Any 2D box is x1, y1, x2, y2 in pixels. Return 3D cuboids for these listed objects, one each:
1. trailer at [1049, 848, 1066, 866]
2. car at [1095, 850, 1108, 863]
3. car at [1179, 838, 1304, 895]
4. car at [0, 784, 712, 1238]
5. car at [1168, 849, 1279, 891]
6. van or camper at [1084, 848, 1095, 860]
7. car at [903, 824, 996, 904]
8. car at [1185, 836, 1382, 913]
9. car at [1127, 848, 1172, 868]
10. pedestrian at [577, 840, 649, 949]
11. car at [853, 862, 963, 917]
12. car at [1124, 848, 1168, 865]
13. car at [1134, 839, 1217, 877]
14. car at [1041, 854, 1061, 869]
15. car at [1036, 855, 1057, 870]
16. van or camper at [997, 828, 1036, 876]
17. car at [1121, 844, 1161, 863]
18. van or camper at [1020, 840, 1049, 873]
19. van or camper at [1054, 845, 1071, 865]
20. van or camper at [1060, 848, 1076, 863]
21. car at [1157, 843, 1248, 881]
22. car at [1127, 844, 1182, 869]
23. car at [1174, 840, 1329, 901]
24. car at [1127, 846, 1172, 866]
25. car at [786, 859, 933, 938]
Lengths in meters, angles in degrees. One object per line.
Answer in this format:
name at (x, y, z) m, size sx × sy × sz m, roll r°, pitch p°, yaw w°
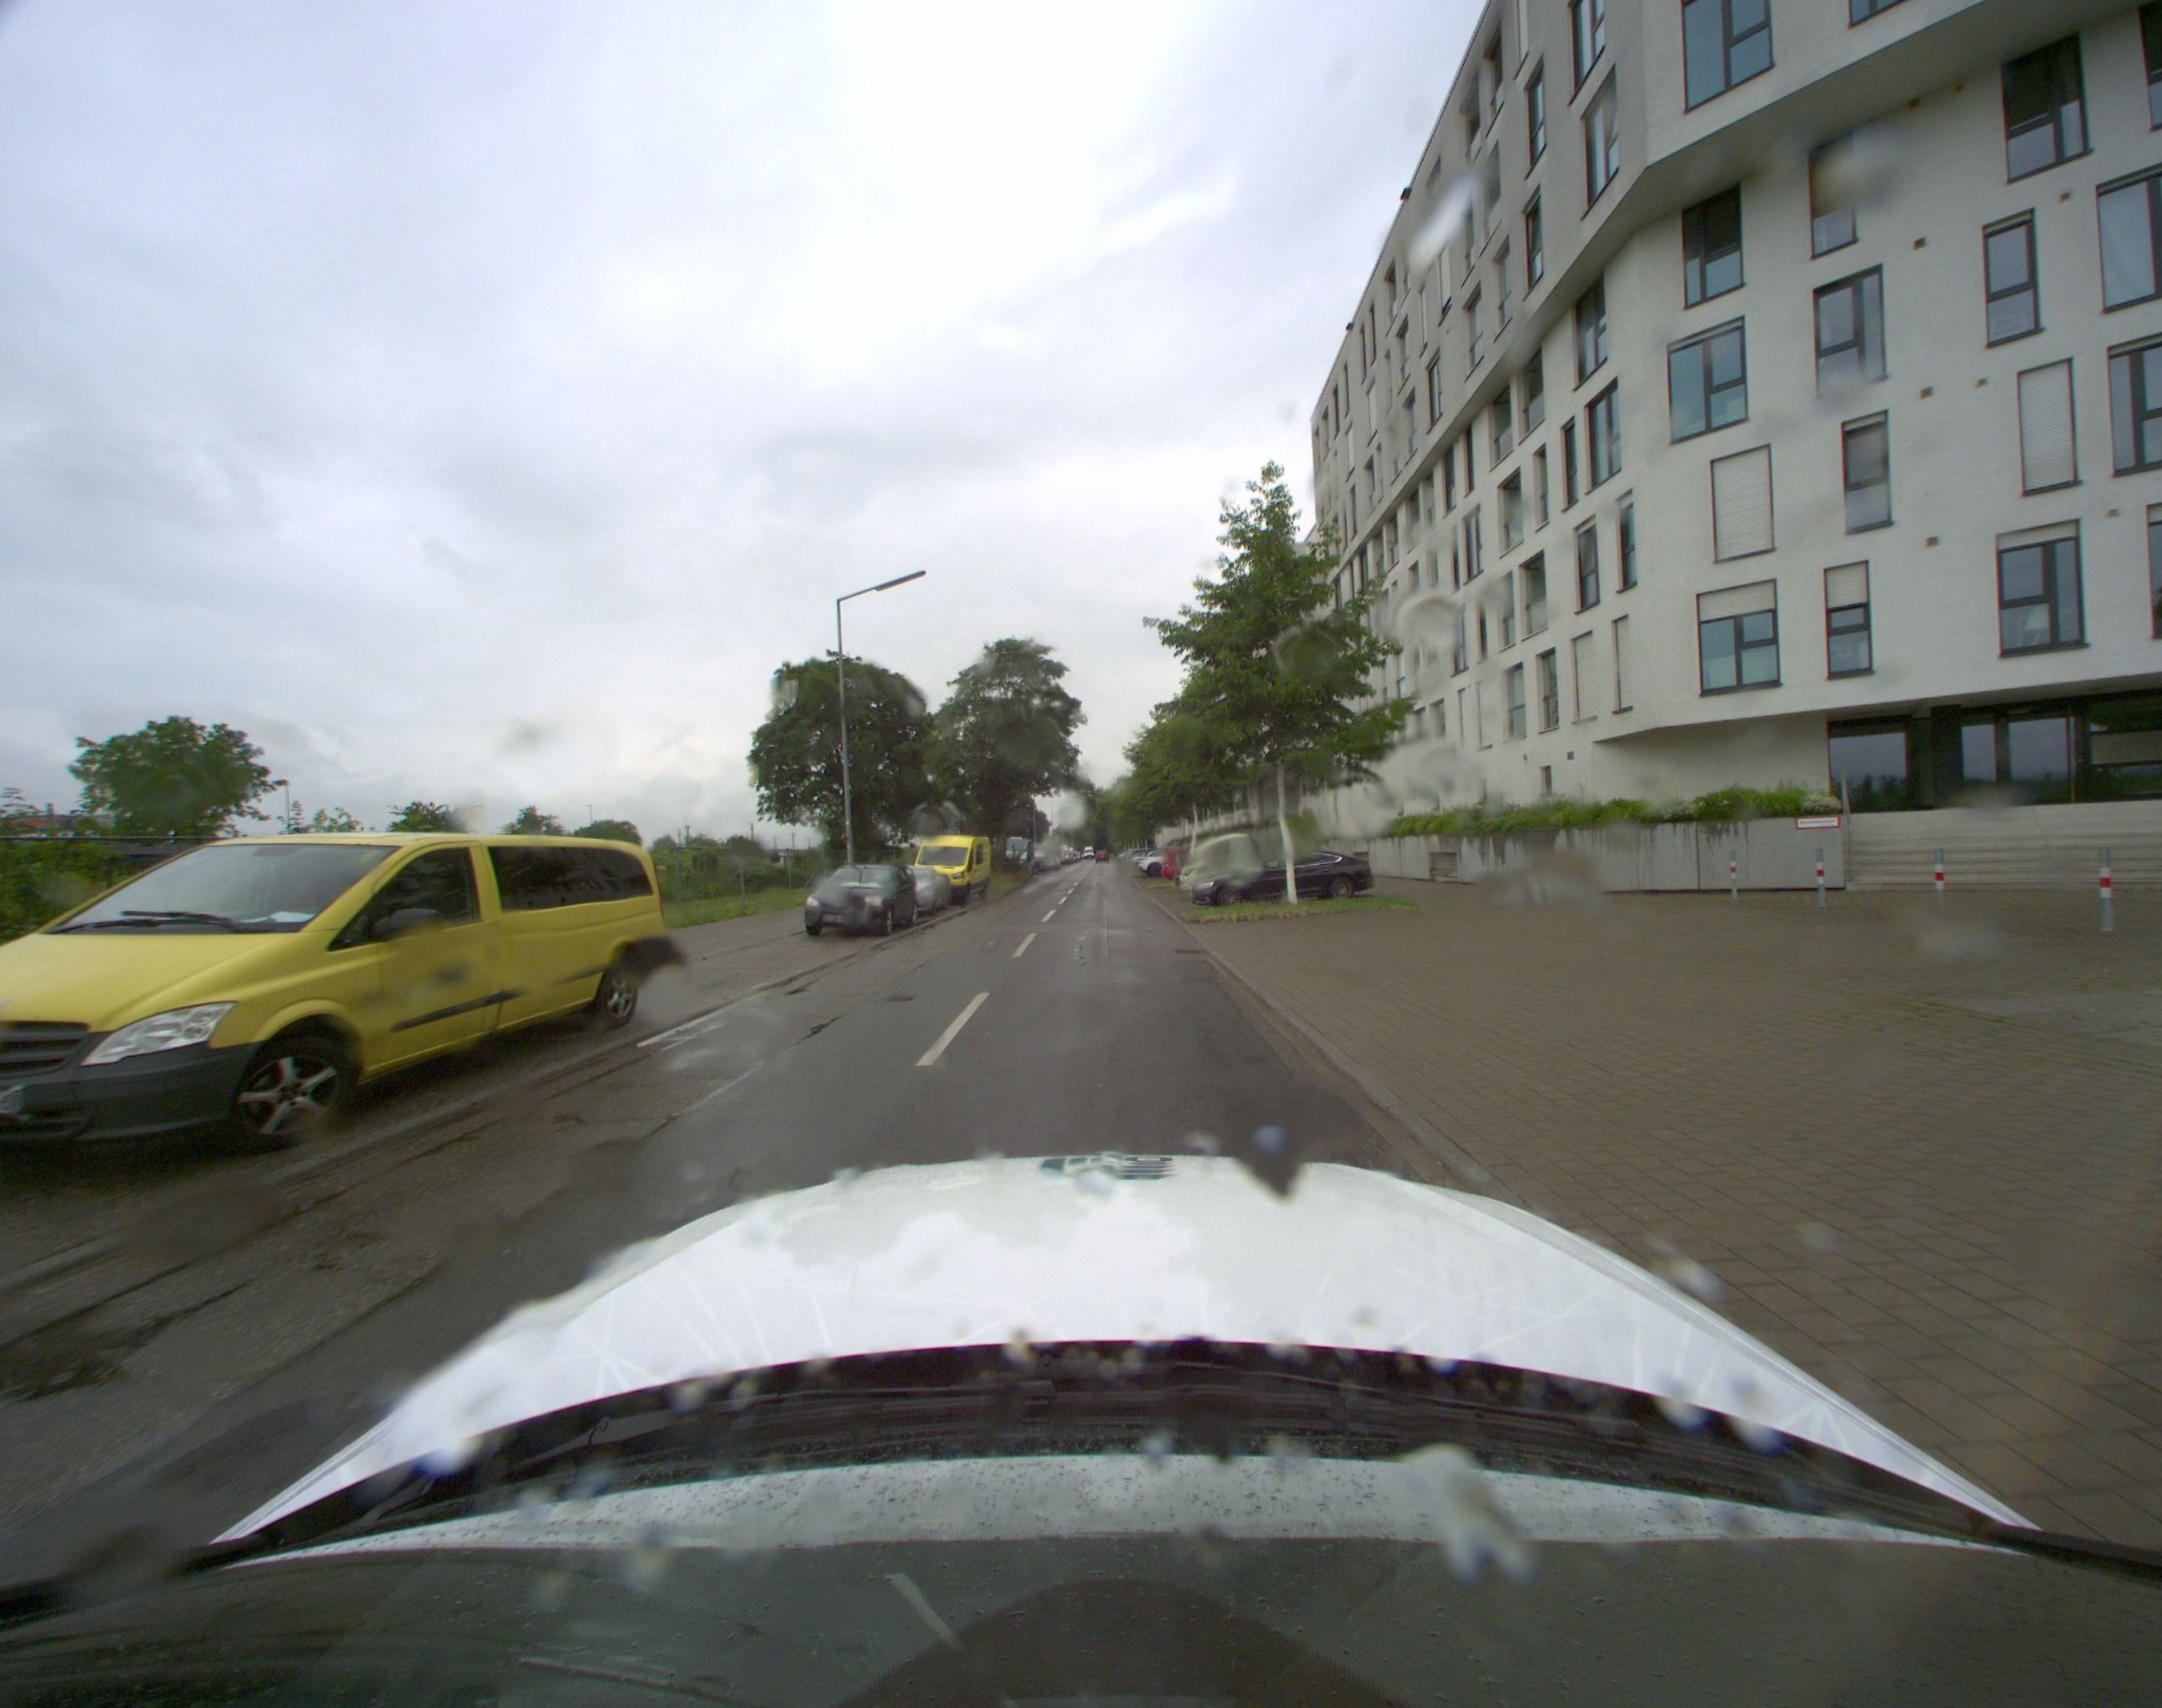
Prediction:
trailer at (-2.977, 0.401, 105.194) m, size 2.052 × 2.218 × 5.794 m, roll -1°, pitch 0°, yaw 0°
car at (2.849, 0.348, 111.966) m, size 1.750 × 1.706 × 4.001 m, roll -3°, pitch 0°, yaw 1°
car at (5.547, 0.424, 28.422) m, size 3.972 × 1.555 × 1.635 m, roll -5°, pitch 0°, yaw 1°
car at (-5.425, 0.691, 6.553) m, size 2.010 × 1.956 × 6.066 m, roll -1°, pitch 0°, yaw 1°
car at (5.372, 0.609, 31.066) m, size 3.945 × 1.474 × 1.591 m, roll -1°, pitch 0°, yaw -1°
van or camper at (1.768, 0.036, 173.079) m, size 1.986 × 2.497 × 7.182 m, roll -3°, pitch 0°, yaw 2°
car at (-4.768, 0.346, 30.561) m, size 2.182 × 2.694 × 6.086 m, roll 0°, pitch 0°, yaw 3°
car at (5.131, 0.509, 21.039) m, size 4.556 × 1.497 × 1.825 m, roll -5°, pitch 0°, yaw 0°
car at (6.282, 0.345, 75.231) m, size 3.973 × 1.509 × 1.684 m, roll -4°, pitch 1°, yaw 1°
pedestrian at (-9.000, 0.755, 15.696) m, size 0.739 × 2.013 × 0.981 m, roll -1°, pitch 0°, yaw 2°
car at (-4.952, 0.962, 24.185) m, size 2.003 × 1.434 × 5.340 m, roll 0°, pitch 0°, yaw 1°
car at (6.624, 0.279, 82.837) m, size 4.286 × 1.428 × 1.636 m, roll -4°, pitch 0°, yaw -1°
car at (5.603, 0.221, 48.713) m, size 4.527 × 1.685 × 1.885 m, roll -7°, pitch 0°, yaw -2°
car at (-3.266, 0.797, 89.317) m, size 1.880 × 1.526 × 5.110 m, roll 0°, pitch 0°, yaw 1°
car at (-3.467, 0.849, 82.983) m, size 1.767 × 1.502 × 4.830 m, roll 0°, pitch 0°, yaw 2°
van or camper at (-4.271, -0.104, 55.081) m, size 2.087 × 3.094 × 6.424 m, roll 0°, pitch -1°, yaw 0°
car at (7.205, -0.079, 97.760) m, size 4.607 × 2.019 × 1.856 m, roll -3°, pitch 0°, yaw -3°
van or camper at (-3.929, 0.244, 70.452) m, size 2.088 × 2.715 × 7.572 m, roll 0°, pitch -1°, yaw 0°
van or camper at (-2.648, 0.199, 117.825) m, size 1.986 × 2.762 × 7.901 m, roll -1°, pitch 0°, yaw 2°
van or camper at (-2.129, 0.235, 131.748) m, size 2.181 × 2.461 × 6.380 m, roll -1°, pitch 0°, yaw 2°
car at (5.702, 0.369, 38.522) m, size 3.974 × 1.451 × 1.821 m, roll -5°, pitch -1°, yaw 0°
car at (6.350, 0.225, 70.425) m, size 4.462 × 1.686 × 1.935 m, roll -6°, pitch 0°, yaw -1°
car at (5.317, 0.498, 25.787) m, size 4.472 × 1.481 × 1.692 m, roll -5°, pitch 0°, yaw 1°
car at (6.743, 0.174, 80.414) m, size 4.150 × 1.624 × 1.896 m, roll -4°, pitch 0°, yaw -2°
car at (-4.899, 0.910, 18.848) m, size 1.987 × 1.594 × 5.017 m, roll 0°, pitch 0°, yaw 0°
